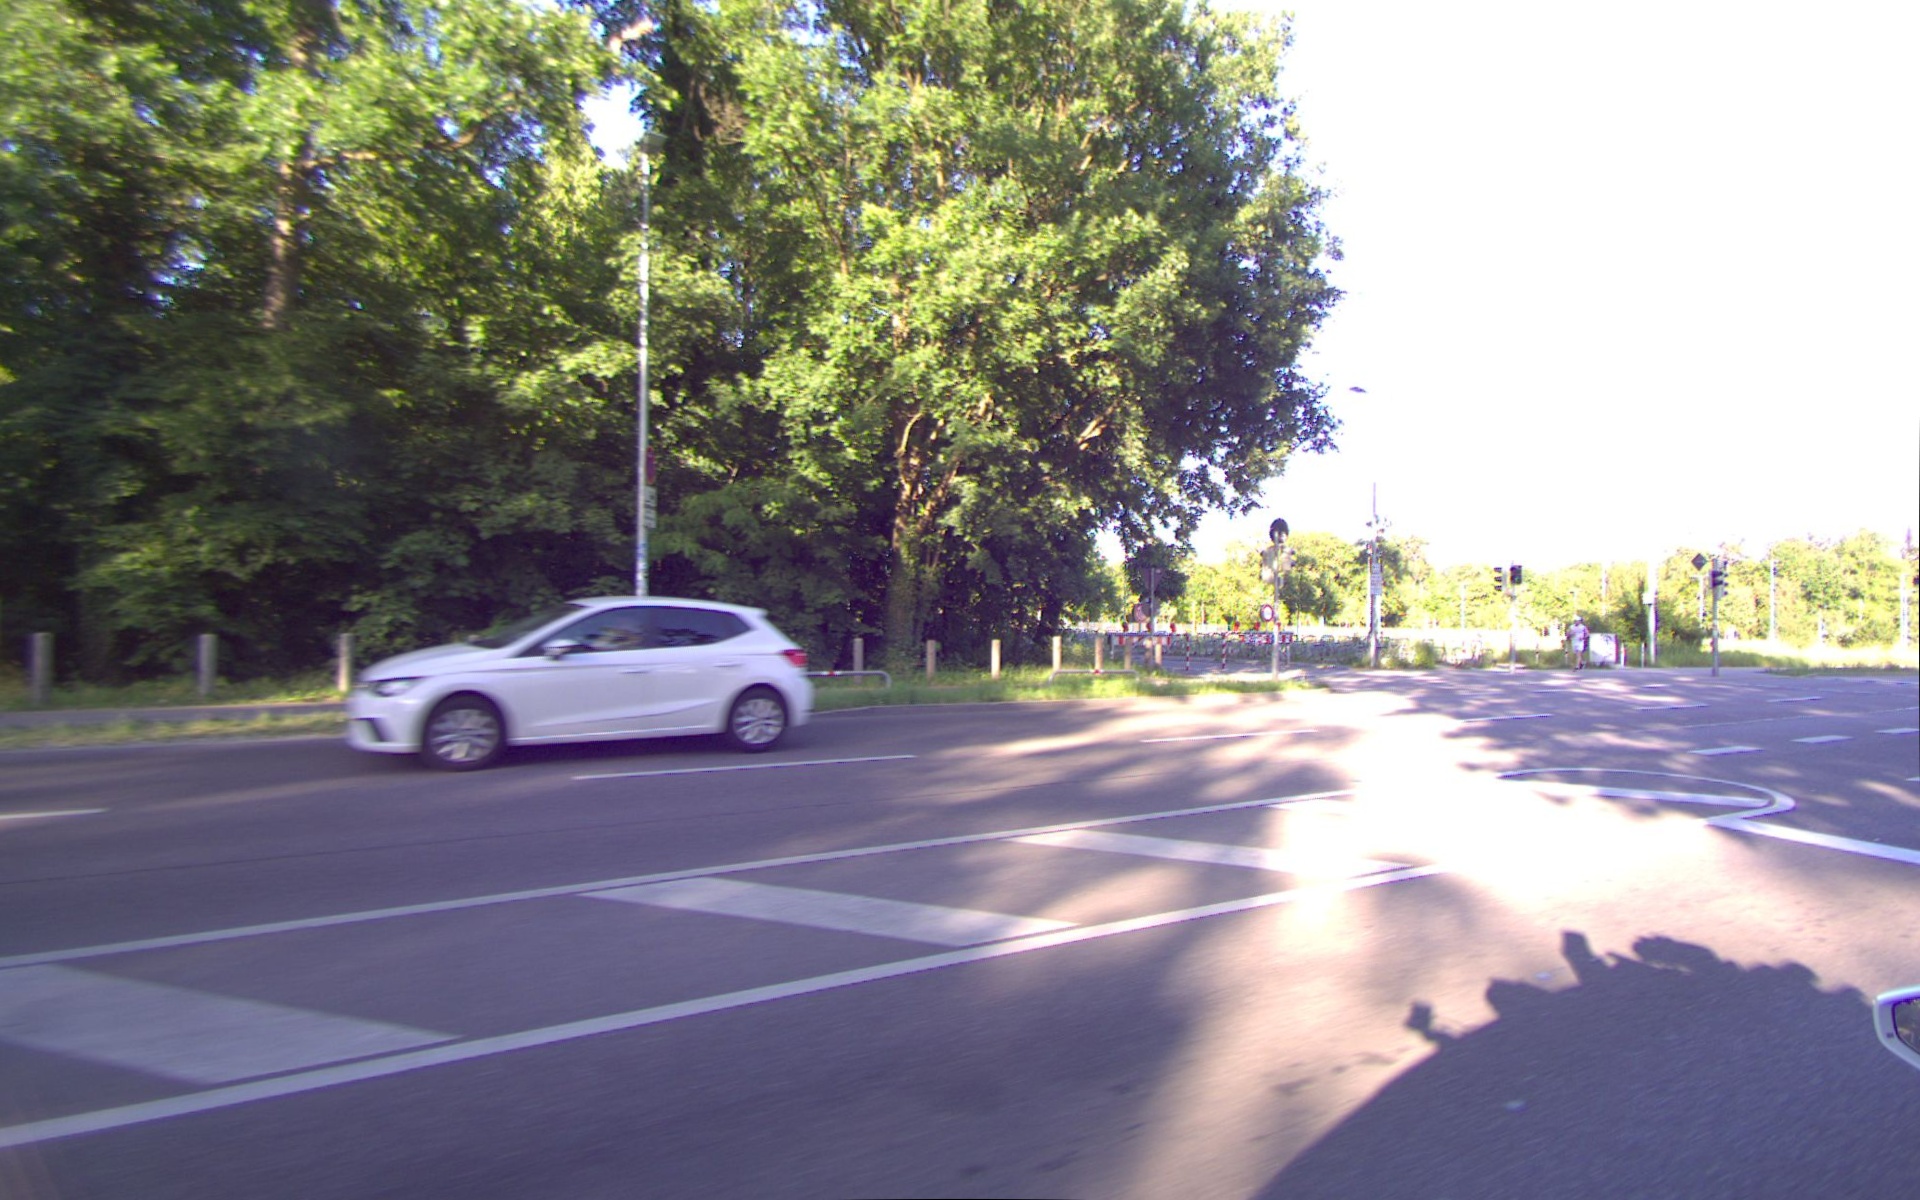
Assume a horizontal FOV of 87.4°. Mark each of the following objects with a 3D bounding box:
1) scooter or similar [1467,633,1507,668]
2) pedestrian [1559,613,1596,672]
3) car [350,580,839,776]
[{"bbox_3d":[19.549,1.871,37.253,1.337,1.240,0.511,2,-2,-17],"label":"scooter or similar"},{"bbox_3d":[20.616,1.419,33.524,1.094,1.934,0.609,2,-2,-31],"label":"pedestrian"},{"bbox_3d":[-3.355,0.634,9.503,4.057,1.483,1.700,2,0,-34],"label":"car"}]
